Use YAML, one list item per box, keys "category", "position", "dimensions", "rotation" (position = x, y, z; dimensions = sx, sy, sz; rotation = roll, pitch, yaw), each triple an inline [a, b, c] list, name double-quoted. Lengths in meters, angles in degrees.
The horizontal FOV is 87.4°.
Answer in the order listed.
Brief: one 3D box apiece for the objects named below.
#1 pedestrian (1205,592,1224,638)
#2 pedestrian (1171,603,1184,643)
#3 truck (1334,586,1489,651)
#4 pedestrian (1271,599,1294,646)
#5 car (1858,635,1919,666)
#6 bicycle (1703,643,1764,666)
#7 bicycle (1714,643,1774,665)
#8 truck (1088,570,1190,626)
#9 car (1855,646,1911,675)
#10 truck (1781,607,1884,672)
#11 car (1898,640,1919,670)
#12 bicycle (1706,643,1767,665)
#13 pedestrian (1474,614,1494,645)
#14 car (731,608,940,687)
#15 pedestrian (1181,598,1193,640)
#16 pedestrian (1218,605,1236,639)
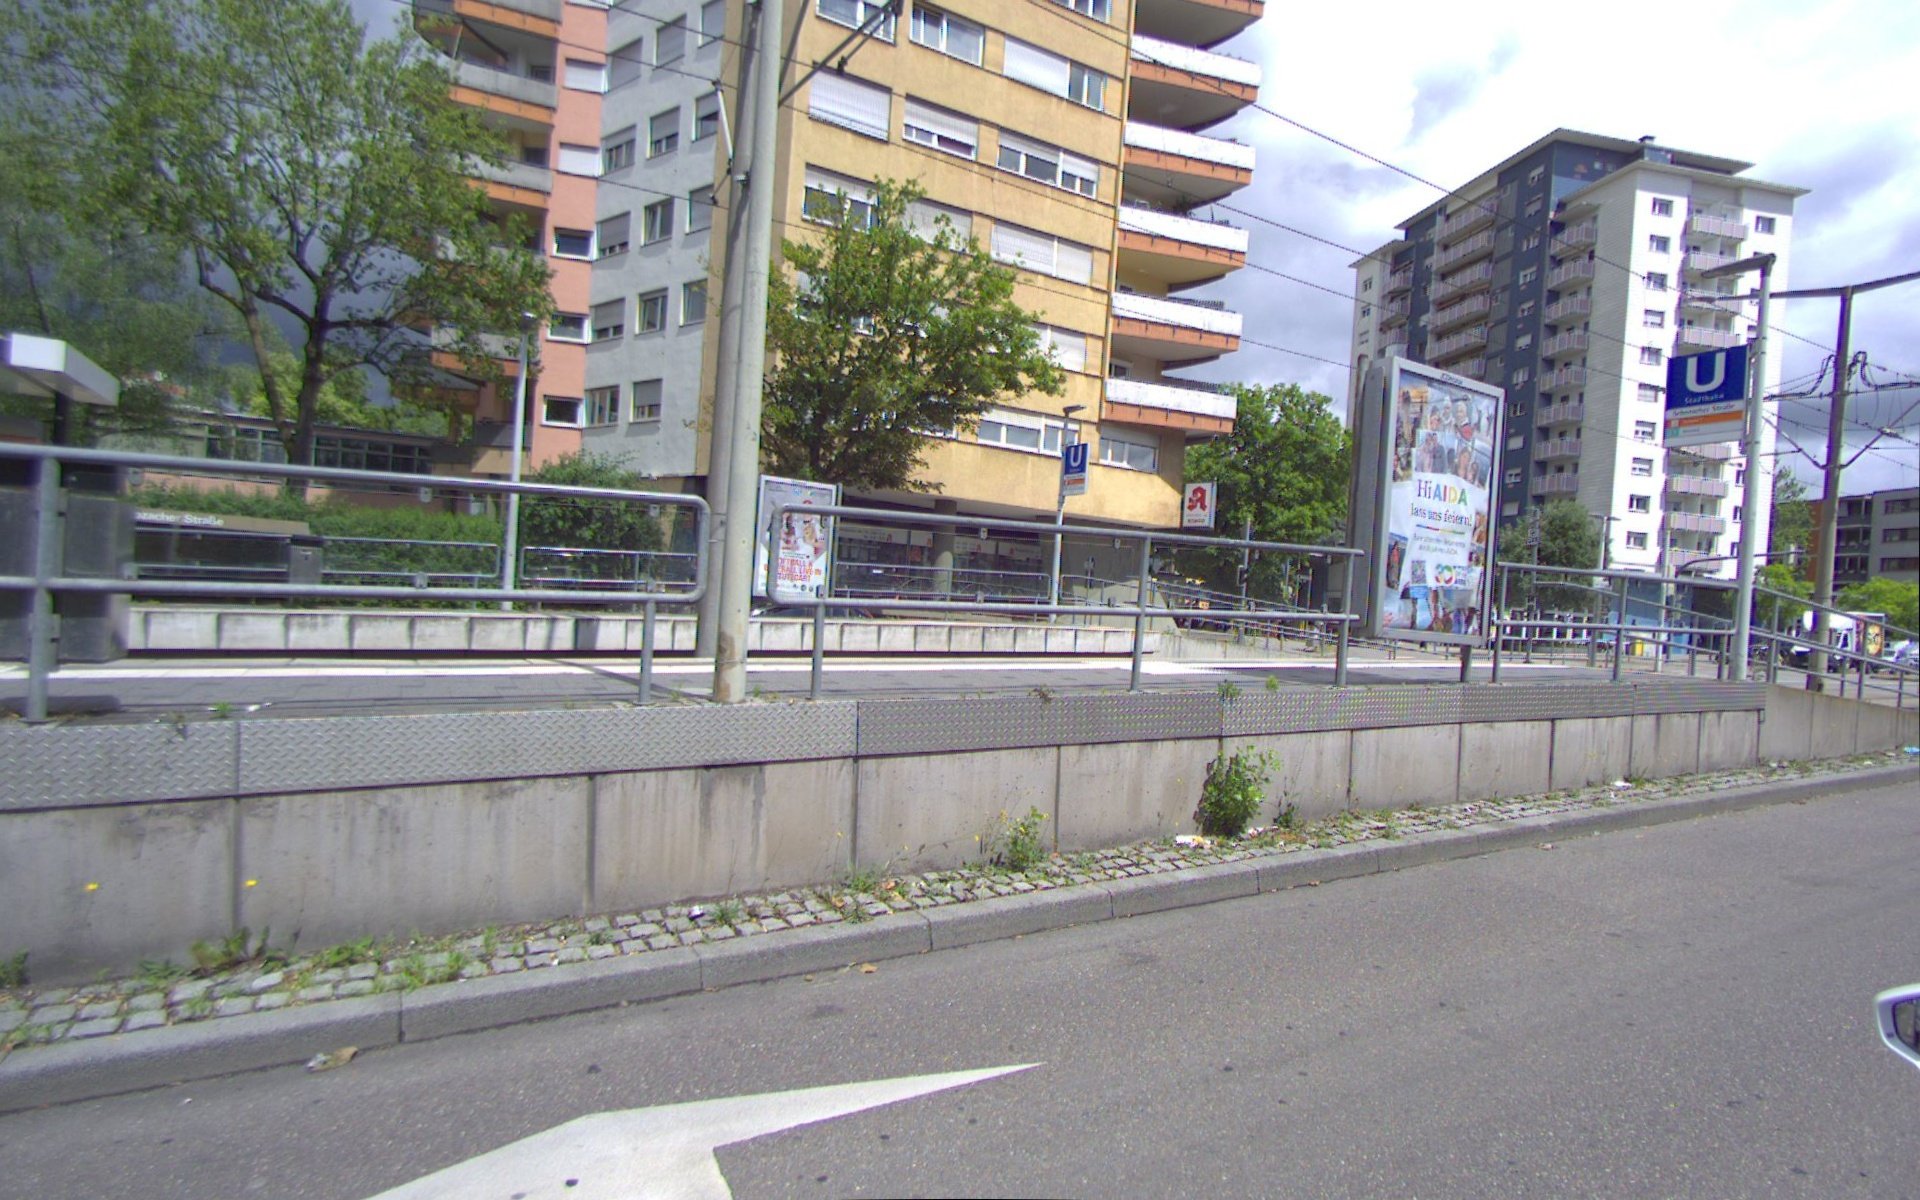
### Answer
- category: "pedestrian"
  position: [11.402, 0.650, 44.955]
  dimensions: [0.532, 2.040, 0.559]
  rotation: [2, 0, -20]
- category: "pedestrian"
  position: [10.960, 1.155, 50.634]
  dimensions: [0.529, 2.040, 0.562]
  rotation: [1, 0, 4]
- category: "truck"
  position: [22.292, 0.855, 50.085]
  dimensions: [2.718, 2.979, 7.258]
  rotation: [2, 0, -20]
- category: "pedestrian"
  position: [12.500, 0.871, 38.937]
  dimensions: [0.649, 1.799, 0.658]
  rotation: [2, 0, -1]
- category: "car"
  position: [64.558, 3.476, 68.993]
  dimensions: [3.846, 2.001, 1.657]
  rotation: [2, 0, 18]
- category: "bicycle"
  position: [41.764, 2.914, 54.272]
  dimensions: [2.521, 1.022, 0.754]
  rotation: [4, 0, 33]
- category: "bicycle"
  position: [43.426, 2.984, 55.674]
  dimensions: [2.521, 1.022, 0.754]
  rotation: [4, 0, 33]
- category: "truck"
  position: [7.993, -0.112, 45.240]
  dimensions: [2.323, 2.320, 4.260]
  rotation: [2, 0, -29]
- category: "car"
  position: [52.286, 3.416, 56.883]
  dimensions: [3.733, 1.480, 1.399]
  rotation: [2, 0, -32]
- category: "truck"
  position: [45.940, 2.096, 52.810]
  dimensions: [7.244, 3.159, 2.267]
  rotation: [2, 0, -34]
- category: "car"
  position: [58.882, 3.378, 61.207]
  dimensions: [3.732, 1.780, 1.583]
  rotation: [2, 0, -31]
- category: "bicycle"
  position: [42.435, 2.950, 54.943]
  dimensions: [2.521, 1.022, 0.754]
  rotation: [4, 0, 33]
- category: "pedestrian"
  position: [36.066, 2.030, 69.152]
  dimensions: [0.831, 2.040, 0.861]
  rotation: [2, 0, -2]
- category: "car"
  position: [-2.458, 0.928, 20.066]
  dimensions: [3.820, 1.424, 1.571]
  rotation: [2, 0, -30]
- category: "pedestrian"
  position: [11.186, 0.945, 49.448]
  dimensions: [0.529, 2.040, 0.562]
  rotation: [2, 0, 12]
- category: "pedestrian"
  position: [11.726, 0.969, 44.113]
  dimensions: [0.541, 1.459, 0.497]
  rotation: [2, -2, -19]
